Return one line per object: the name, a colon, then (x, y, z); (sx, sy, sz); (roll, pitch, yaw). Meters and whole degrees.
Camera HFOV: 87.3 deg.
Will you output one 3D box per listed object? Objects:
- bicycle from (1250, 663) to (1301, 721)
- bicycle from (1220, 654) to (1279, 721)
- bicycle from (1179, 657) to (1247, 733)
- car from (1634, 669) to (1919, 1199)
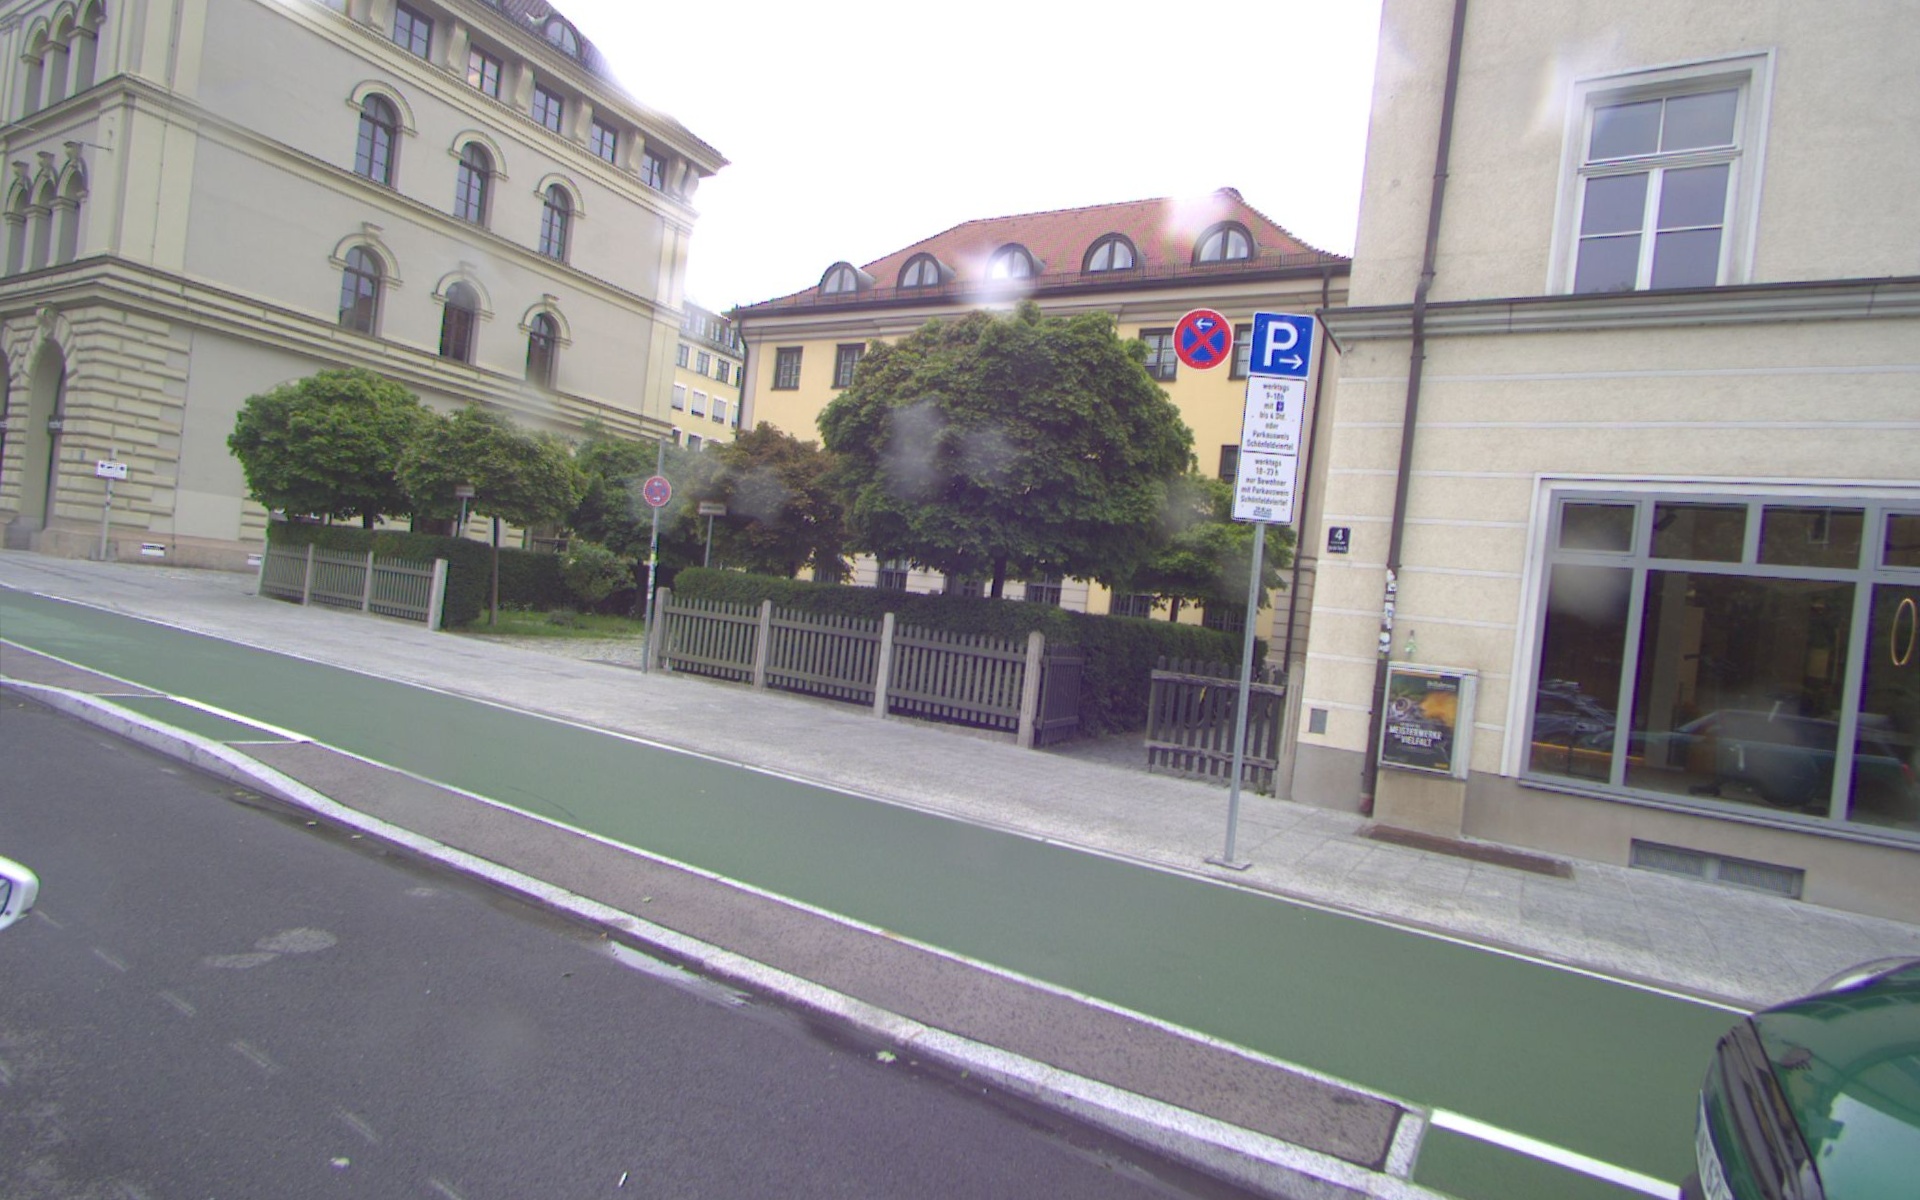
bicycle: (6.345, 1.829, 20.170); (0.512, 1.048, 1.830); (7, -1, 30)
bicycle: (5.357, 1.613, 18.534); (0.512, 1.124, 1.830); (7, -1, 30)
bicycle: (4.222, 1.568, 16.697); (0.512, 1.130, 1.830); (7, -1, 30)
car: (3.141, 1.123, 1.139); (3.767, 1.538, 1.678); (7, -2, 33)
